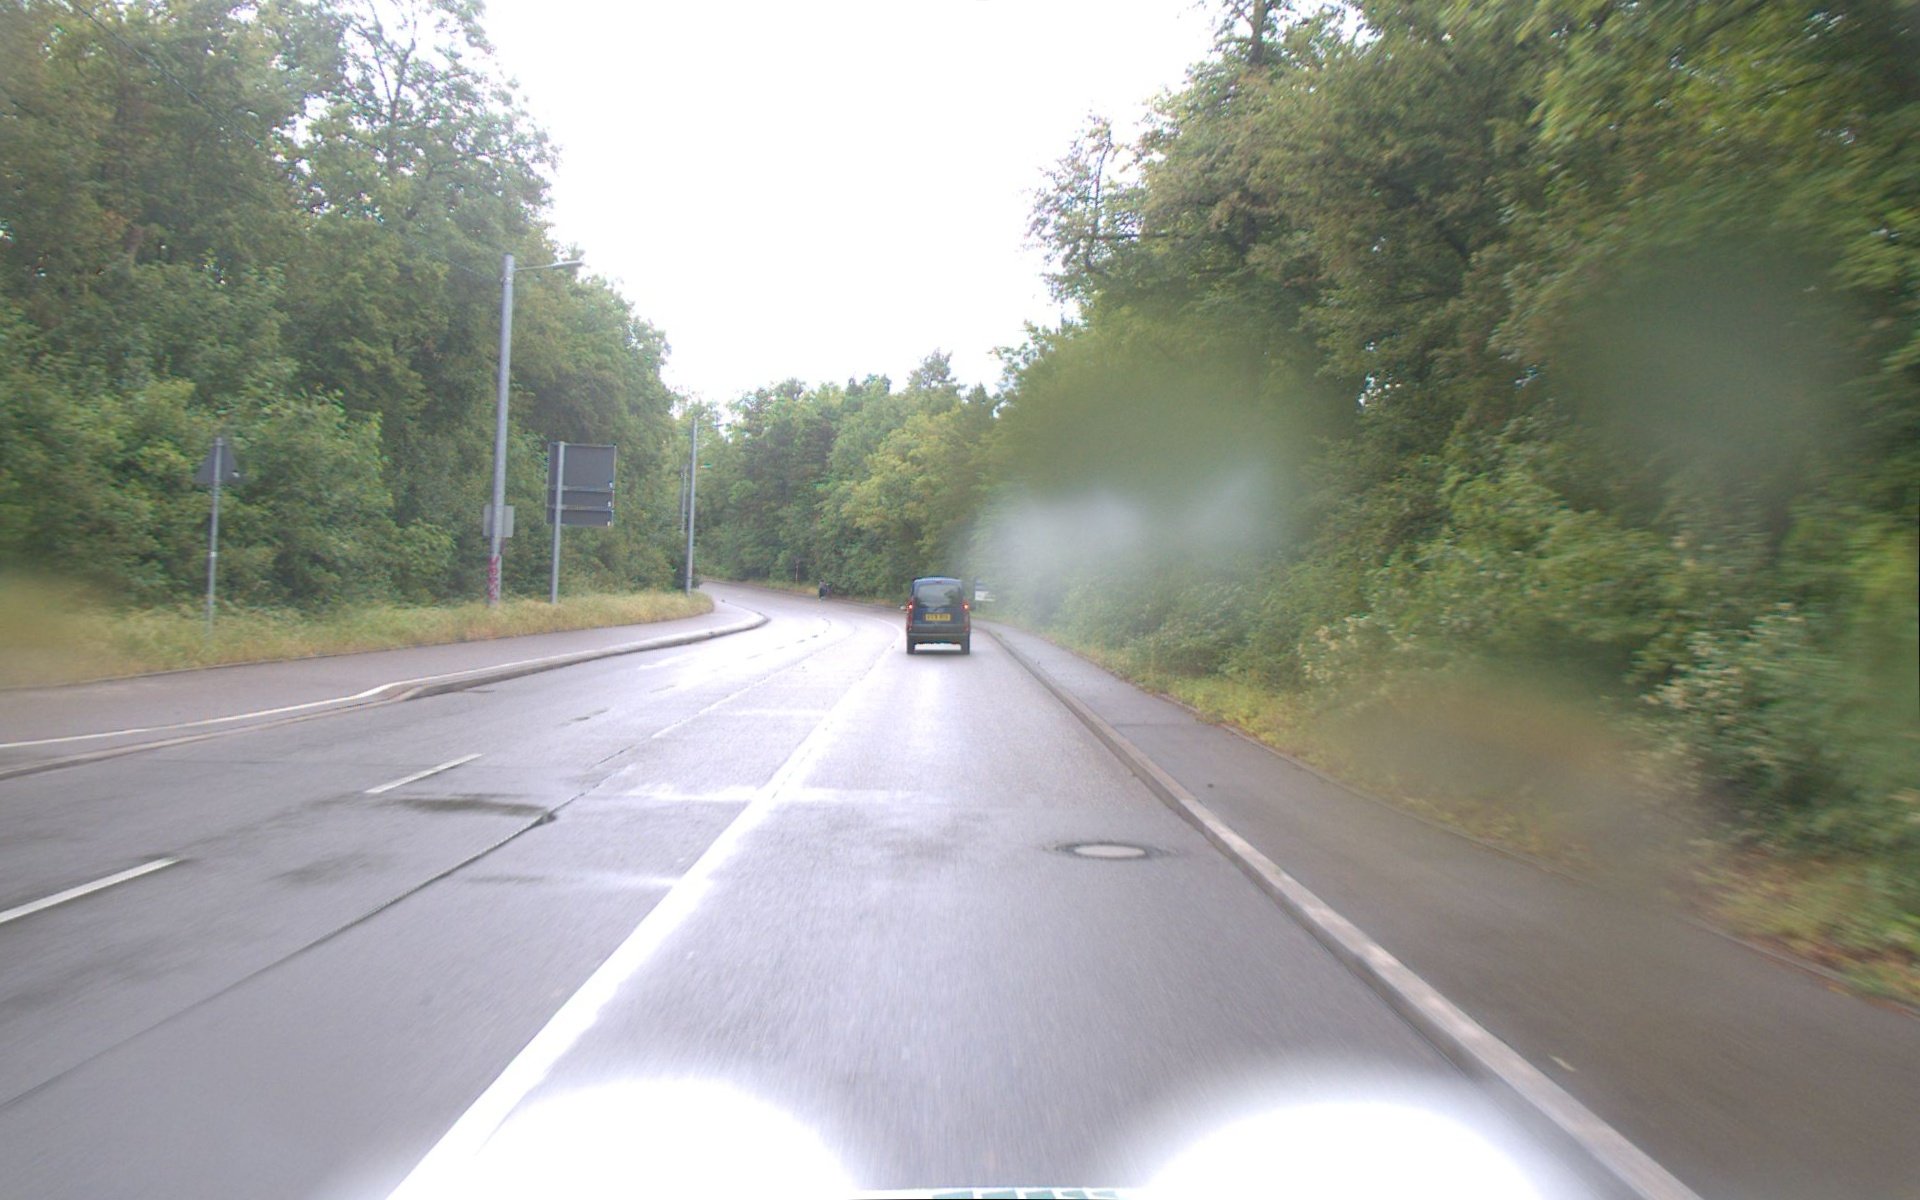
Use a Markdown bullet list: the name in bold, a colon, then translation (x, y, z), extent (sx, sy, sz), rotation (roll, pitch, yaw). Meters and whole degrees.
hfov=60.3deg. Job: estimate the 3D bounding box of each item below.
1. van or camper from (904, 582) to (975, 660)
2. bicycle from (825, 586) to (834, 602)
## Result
- **van or camper**: translation (-0.475, 0.479, 42.252), extent (1.677, 1.857, 4.001), rotation (1, 1, 1)
- **bicycle**: translation (-10.345, -0.502, 131.232), extent (0.480, 1.268, 1.741), rotation (1, 0, -13)
